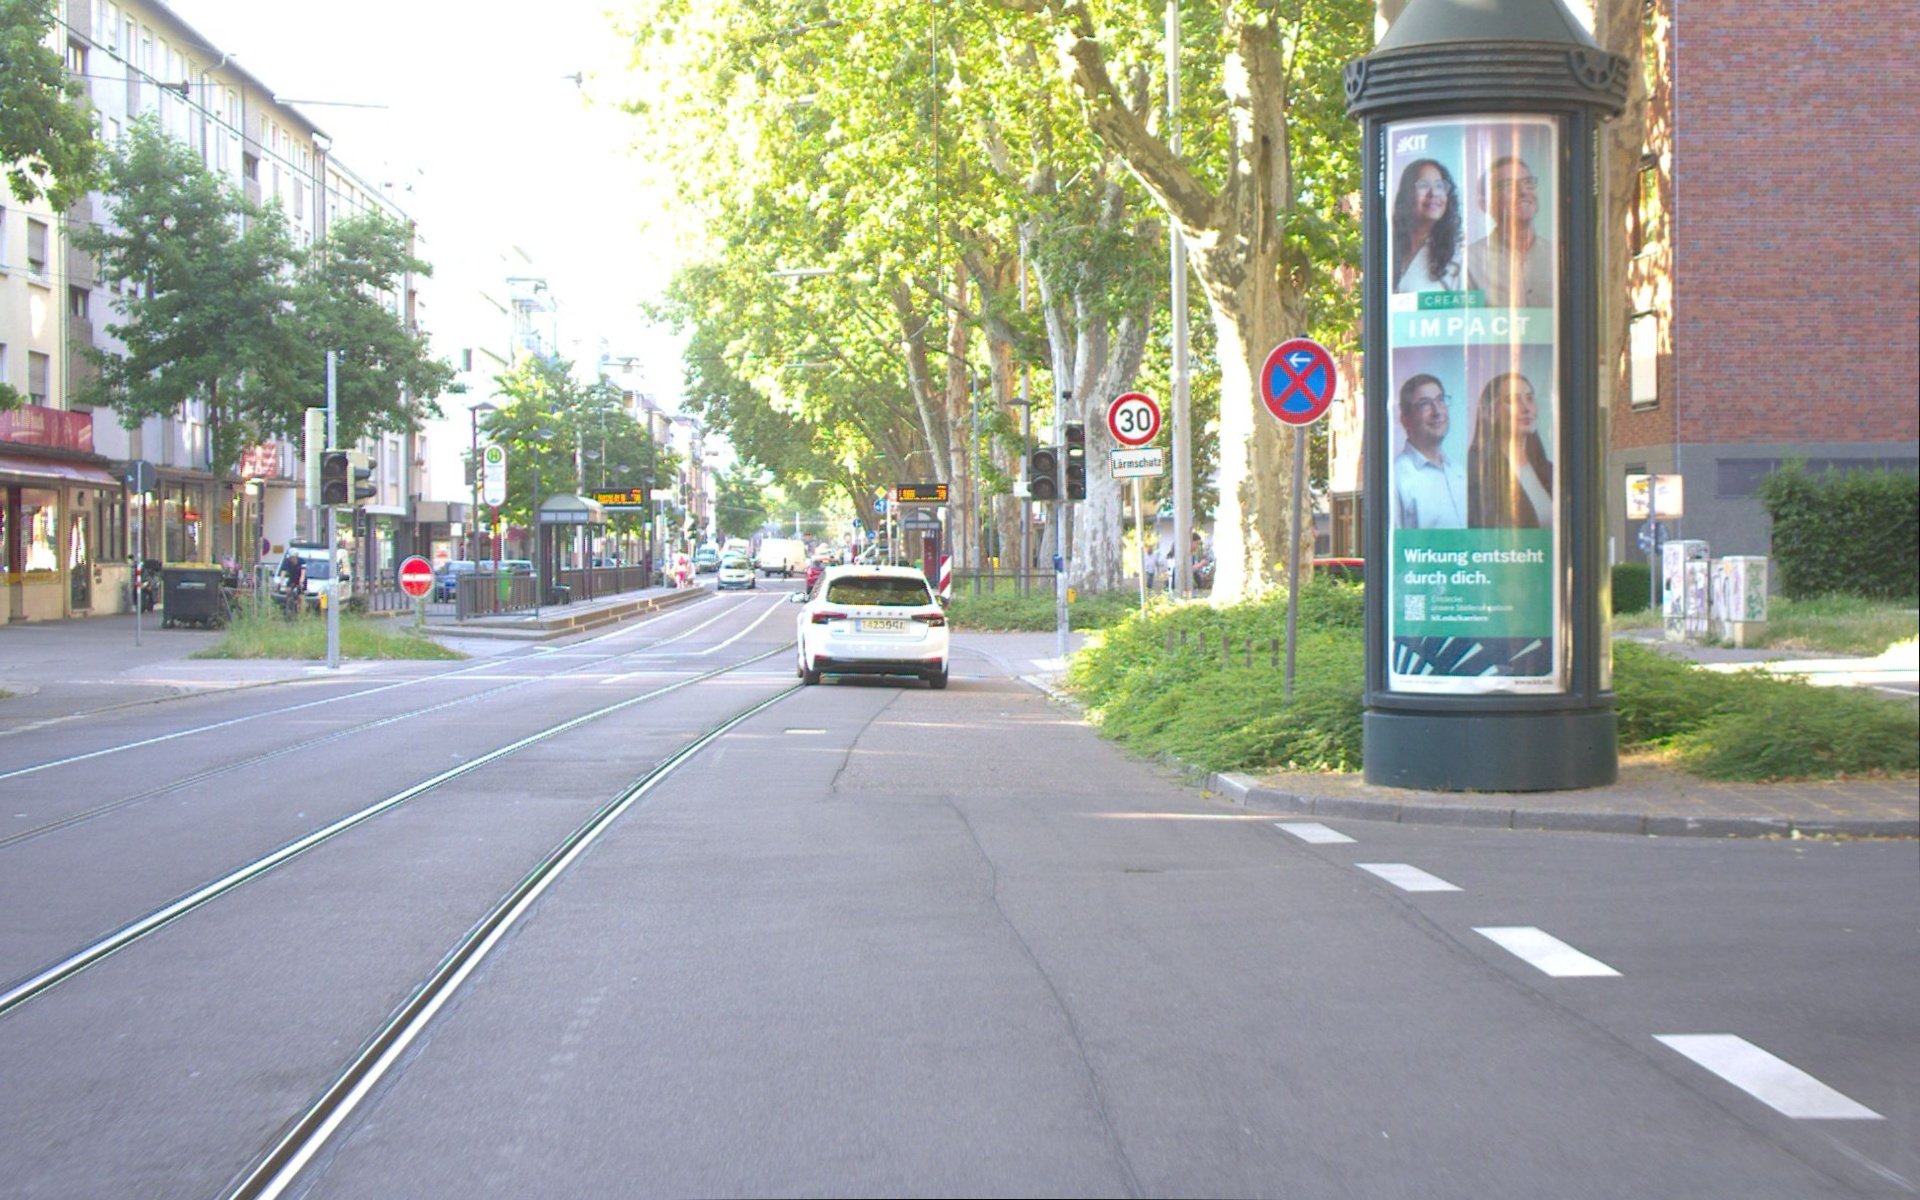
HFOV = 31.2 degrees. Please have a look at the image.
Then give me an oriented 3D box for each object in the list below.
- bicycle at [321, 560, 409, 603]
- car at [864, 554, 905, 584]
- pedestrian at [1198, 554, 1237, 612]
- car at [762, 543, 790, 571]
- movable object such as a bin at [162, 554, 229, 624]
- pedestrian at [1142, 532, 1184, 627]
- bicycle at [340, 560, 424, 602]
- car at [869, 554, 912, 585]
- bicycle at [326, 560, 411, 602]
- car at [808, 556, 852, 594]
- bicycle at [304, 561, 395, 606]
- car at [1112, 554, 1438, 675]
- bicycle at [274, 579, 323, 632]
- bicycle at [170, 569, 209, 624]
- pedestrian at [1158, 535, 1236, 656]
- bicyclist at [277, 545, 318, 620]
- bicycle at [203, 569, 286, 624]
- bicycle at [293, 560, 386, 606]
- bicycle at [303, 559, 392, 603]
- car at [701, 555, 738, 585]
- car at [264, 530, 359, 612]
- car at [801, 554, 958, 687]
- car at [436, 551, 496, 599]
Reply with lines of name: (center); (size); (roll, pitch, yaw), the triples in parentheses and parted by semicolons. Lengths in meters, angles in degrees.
bicycle: (-16.371, -0.513, 94.643); (2.253, 1.070, 0.636); (3, 1, -1)
car: (-3.748, -1.540, 170.110); (1.993, 1.448, 4.001); (0, 1, -2)
pedestrian: (7.194, -0.482, 95.941); (0.972, 1.618, 0.888); (0, 1, -2)
car: (-12.749, -2.973, 237.738); (1.866, 1.886, 4.001); (0, 1, -2)
movable object such as a bin: (-15.603, -0.225, 70.185); (1.169, 1.344, 0.783); (3, 0, -6)
pedestrian: (3.589, -0.368, 60.672); (0.652, 1.663, 0.738); (-1, 1, -3)
bicycle: (-16.520, -0.545, 98.313); (2.253, 1.070, 0.636); (3, 1, -1)
car: (-3.362, -1.479, 165.033); (1.993, 1.448, 4.001); (0, 1, -2)
bicycle: (-16.593, -0.536, 96.479); (2.253, 1.070, 0.636); (3, 1, -1)
car: (-5.383, -1.052, 142.416); (1.788, 1.508, 4.001); (0, 1, -2)
bicycle: (-16.160, -0.449, 91.046); (2.253, 1.070, 0.636); (3, 1, -1)
car: (3.857, 0.167, 42.502); (3.885, 1.418, 1.648); (-1, 1, 1)
bicycle: (-13.014, 0.101, 67.664); (0.641, 0.983, 2.101); (-1, 1, -3)
bicycle: (-16.034, -0.076, 71.575); (0.498, 1.104, 1.800); (3, 0, -5)
pedestrian: (3.573, -0.078, 51.862); (0.994, 1.805, 0.864); (-1, 1, -7)
bicyclist: (-13.033, -0.346, 67.667); (0.641, 1.450, 0.837); (-1, 1, -3)
bicycle: (-15.036, -0.082, 72.278); (1.533, 1.071, 0.885); (3, 1, -3)
bicycle: (-16.140, -0.442, 89.398); (2.253, 1.070, 0.636); (3, 1, -1)
bicycle: (-16.529, -0.510, 92.848); (2.253, 1.070, 0.636); (3, 1, -1)
car: (-11.725, -1.459, 167.822); (1.693, 1.414, 4.001); (0, 1, -2)
car: (-15.733, -0.719, 83.516); (1.688, 1.933, 4.000); (0, 1, -2)
car: (-1.007, 0.213, 41.626); (1.788, 1.508, 4.001); (0, 1, -2)
car: (-16.804, -0.874, 117.112); (1.593, 1.543, 4.001); (2, 1, -2)
